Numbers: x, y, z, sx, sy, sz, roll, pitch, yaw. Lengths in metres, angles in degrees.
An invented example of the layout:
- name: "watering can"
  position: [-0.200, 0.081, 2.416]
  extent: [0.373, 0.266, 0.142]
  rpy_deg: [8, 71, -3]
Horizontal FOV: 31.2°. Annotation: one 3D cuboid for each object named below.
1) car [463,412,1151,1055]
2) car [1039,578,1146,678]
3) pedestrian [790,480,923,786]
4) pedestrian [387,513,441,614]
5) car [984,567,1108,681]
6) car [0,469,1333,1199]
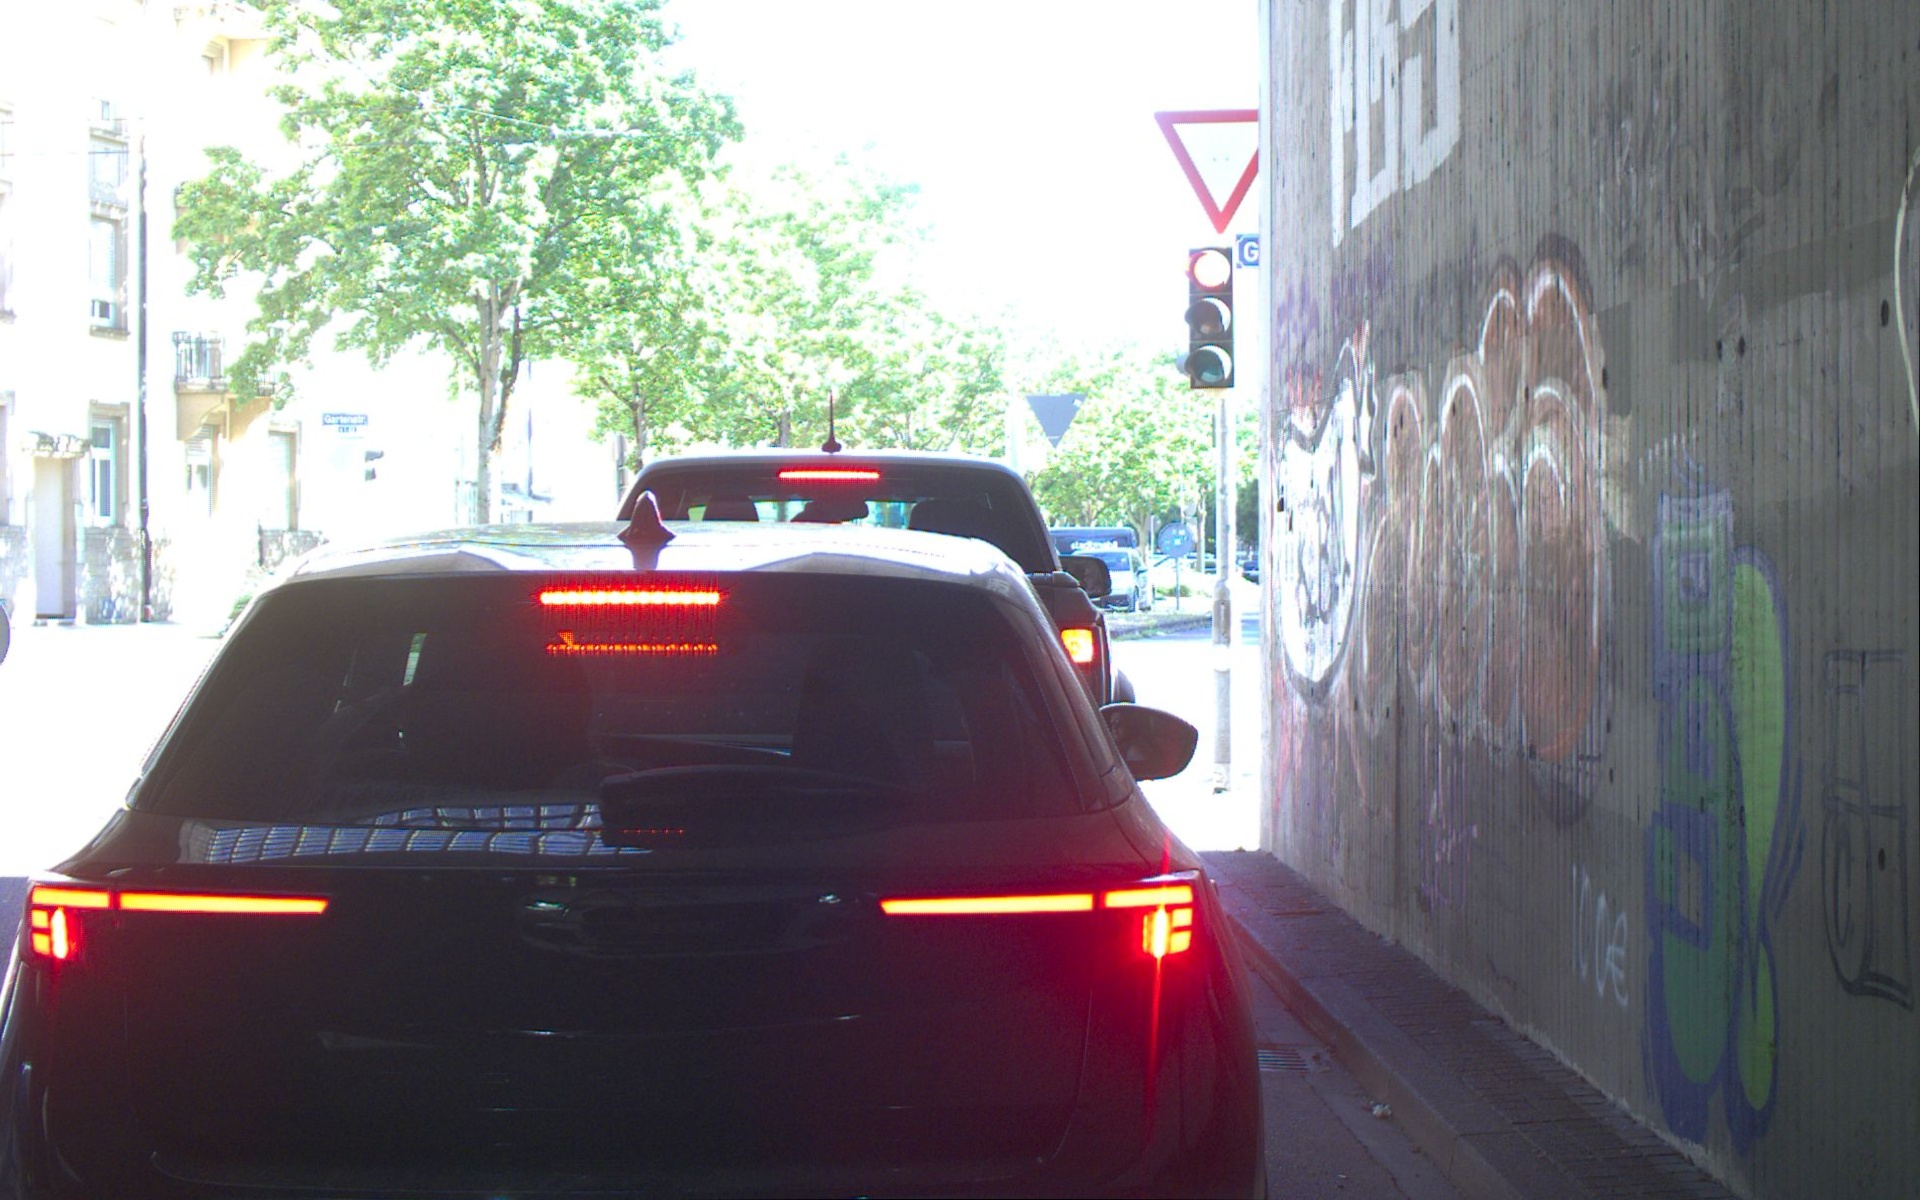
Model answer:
- name: "car"
  position: [-0.467, 0.351, 12.033]
  extent: [1.993, 1.865, 4.000]
  rpy_deg: [0, 1, -1]
- name: "car"
  position: [2.764, 0.551, 70.903]
  extent: [1.994, 1.963, 4.163]
  rpy_deg: [1, 1, 5]
- name: "pedestrian"
  position: [-0.592, 0.184, 19.949]
  extent: [0.731, 1.728, 0.874]
  rpy_deg: [1, 0, -1]
- name: "pedestrian"
  position: [-11.326, -0.762, 71.351]
  extent: [0.892, 2.080, 0.808]
  rpy_deg: [1, 0, 7]
- name: "car"
  position: [1.598, 0.404, 62.327]
  extent: [1.994, 1.963, 4.163]
  rpy_deg: [1, 1, 5]
- name: "car"
  position: [-0.481, 0.568, 6.015]
  extent: [1.764, 1.566, 4.001]
  rpy_deg: [1, 2, -1]
